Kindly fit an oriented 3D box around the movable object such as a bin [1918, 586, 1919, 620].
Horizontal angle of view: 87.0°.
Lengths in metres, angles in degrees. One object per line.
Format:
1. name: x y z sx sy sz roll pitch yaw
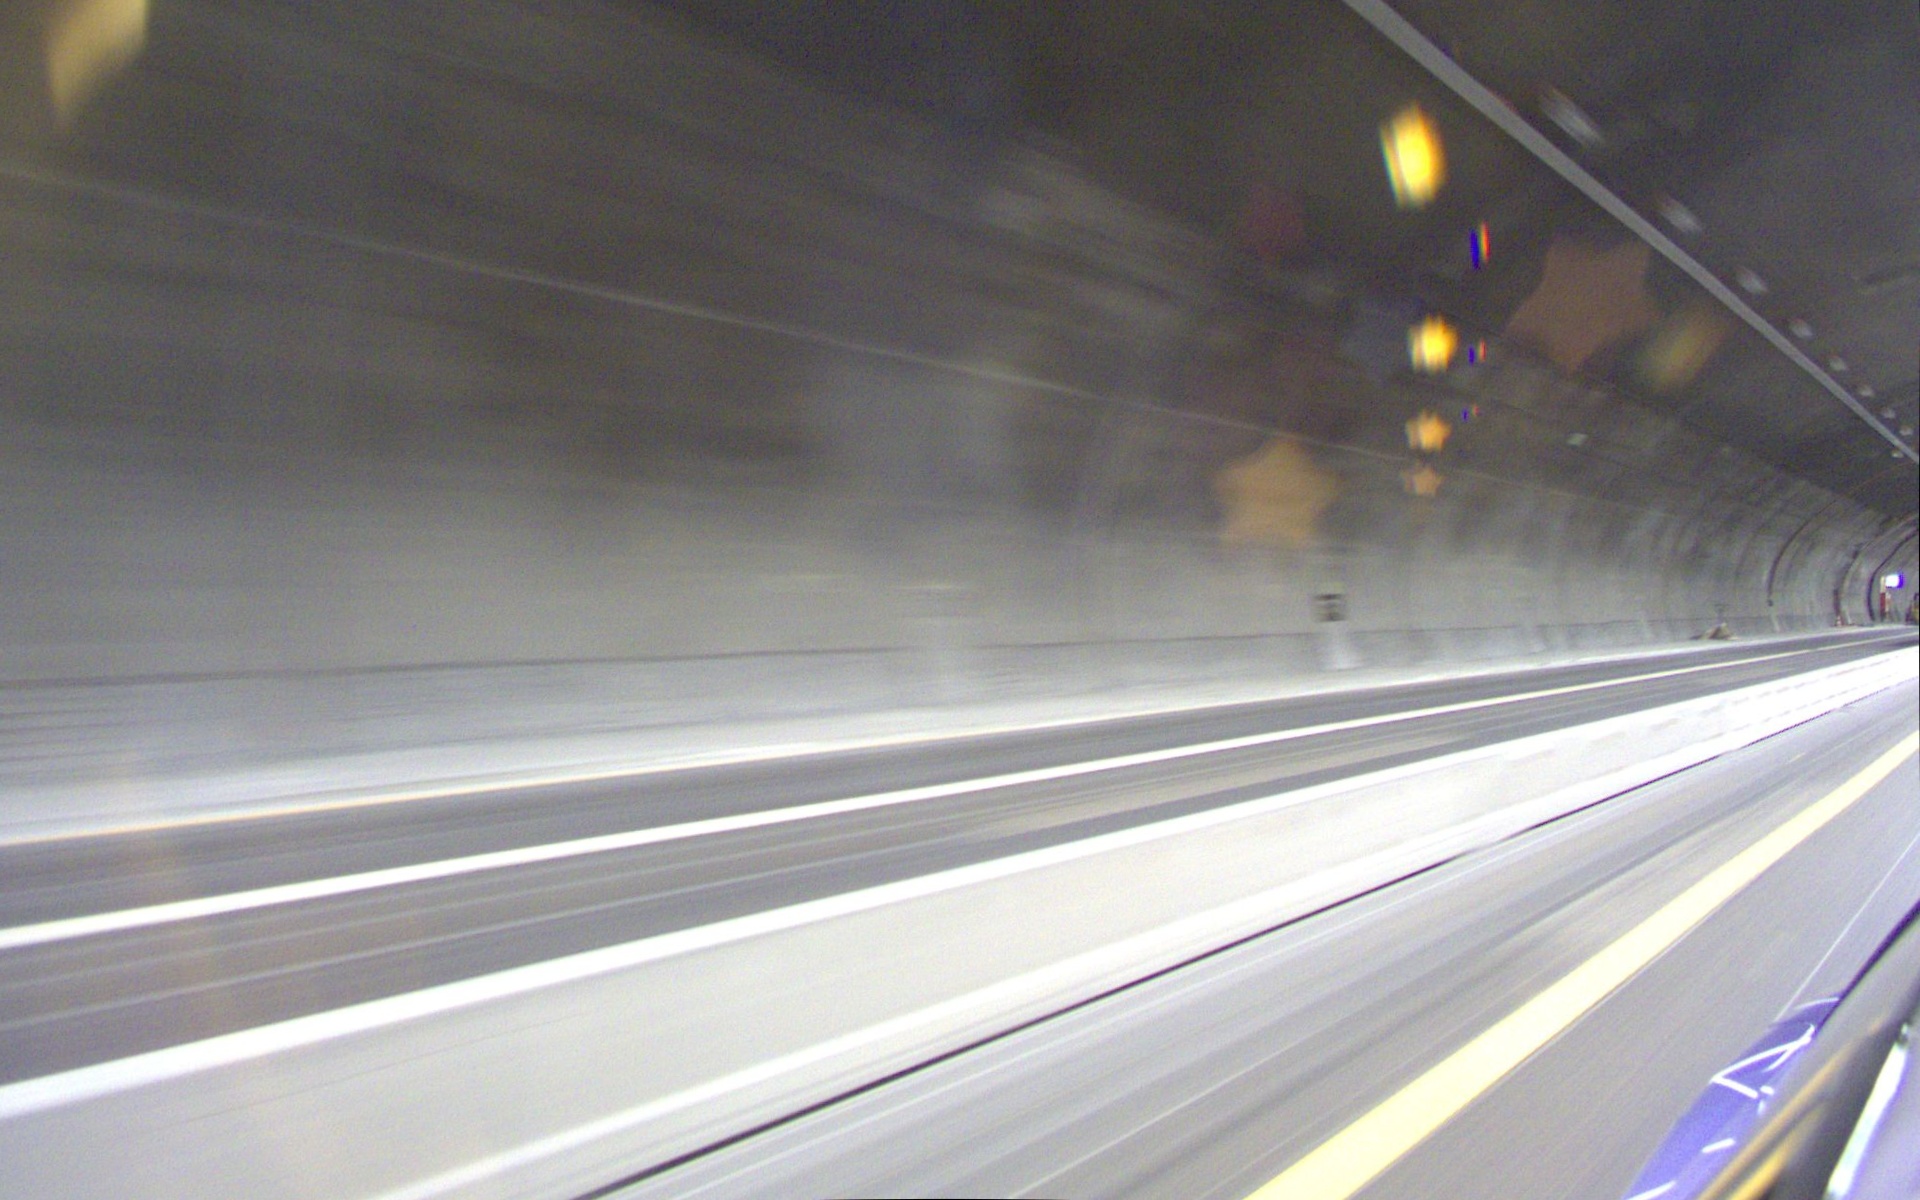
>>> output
1. movable object such as a bin: 64.144 0.161 66.272 4.548 2.172 1.686 -1 1 -42
